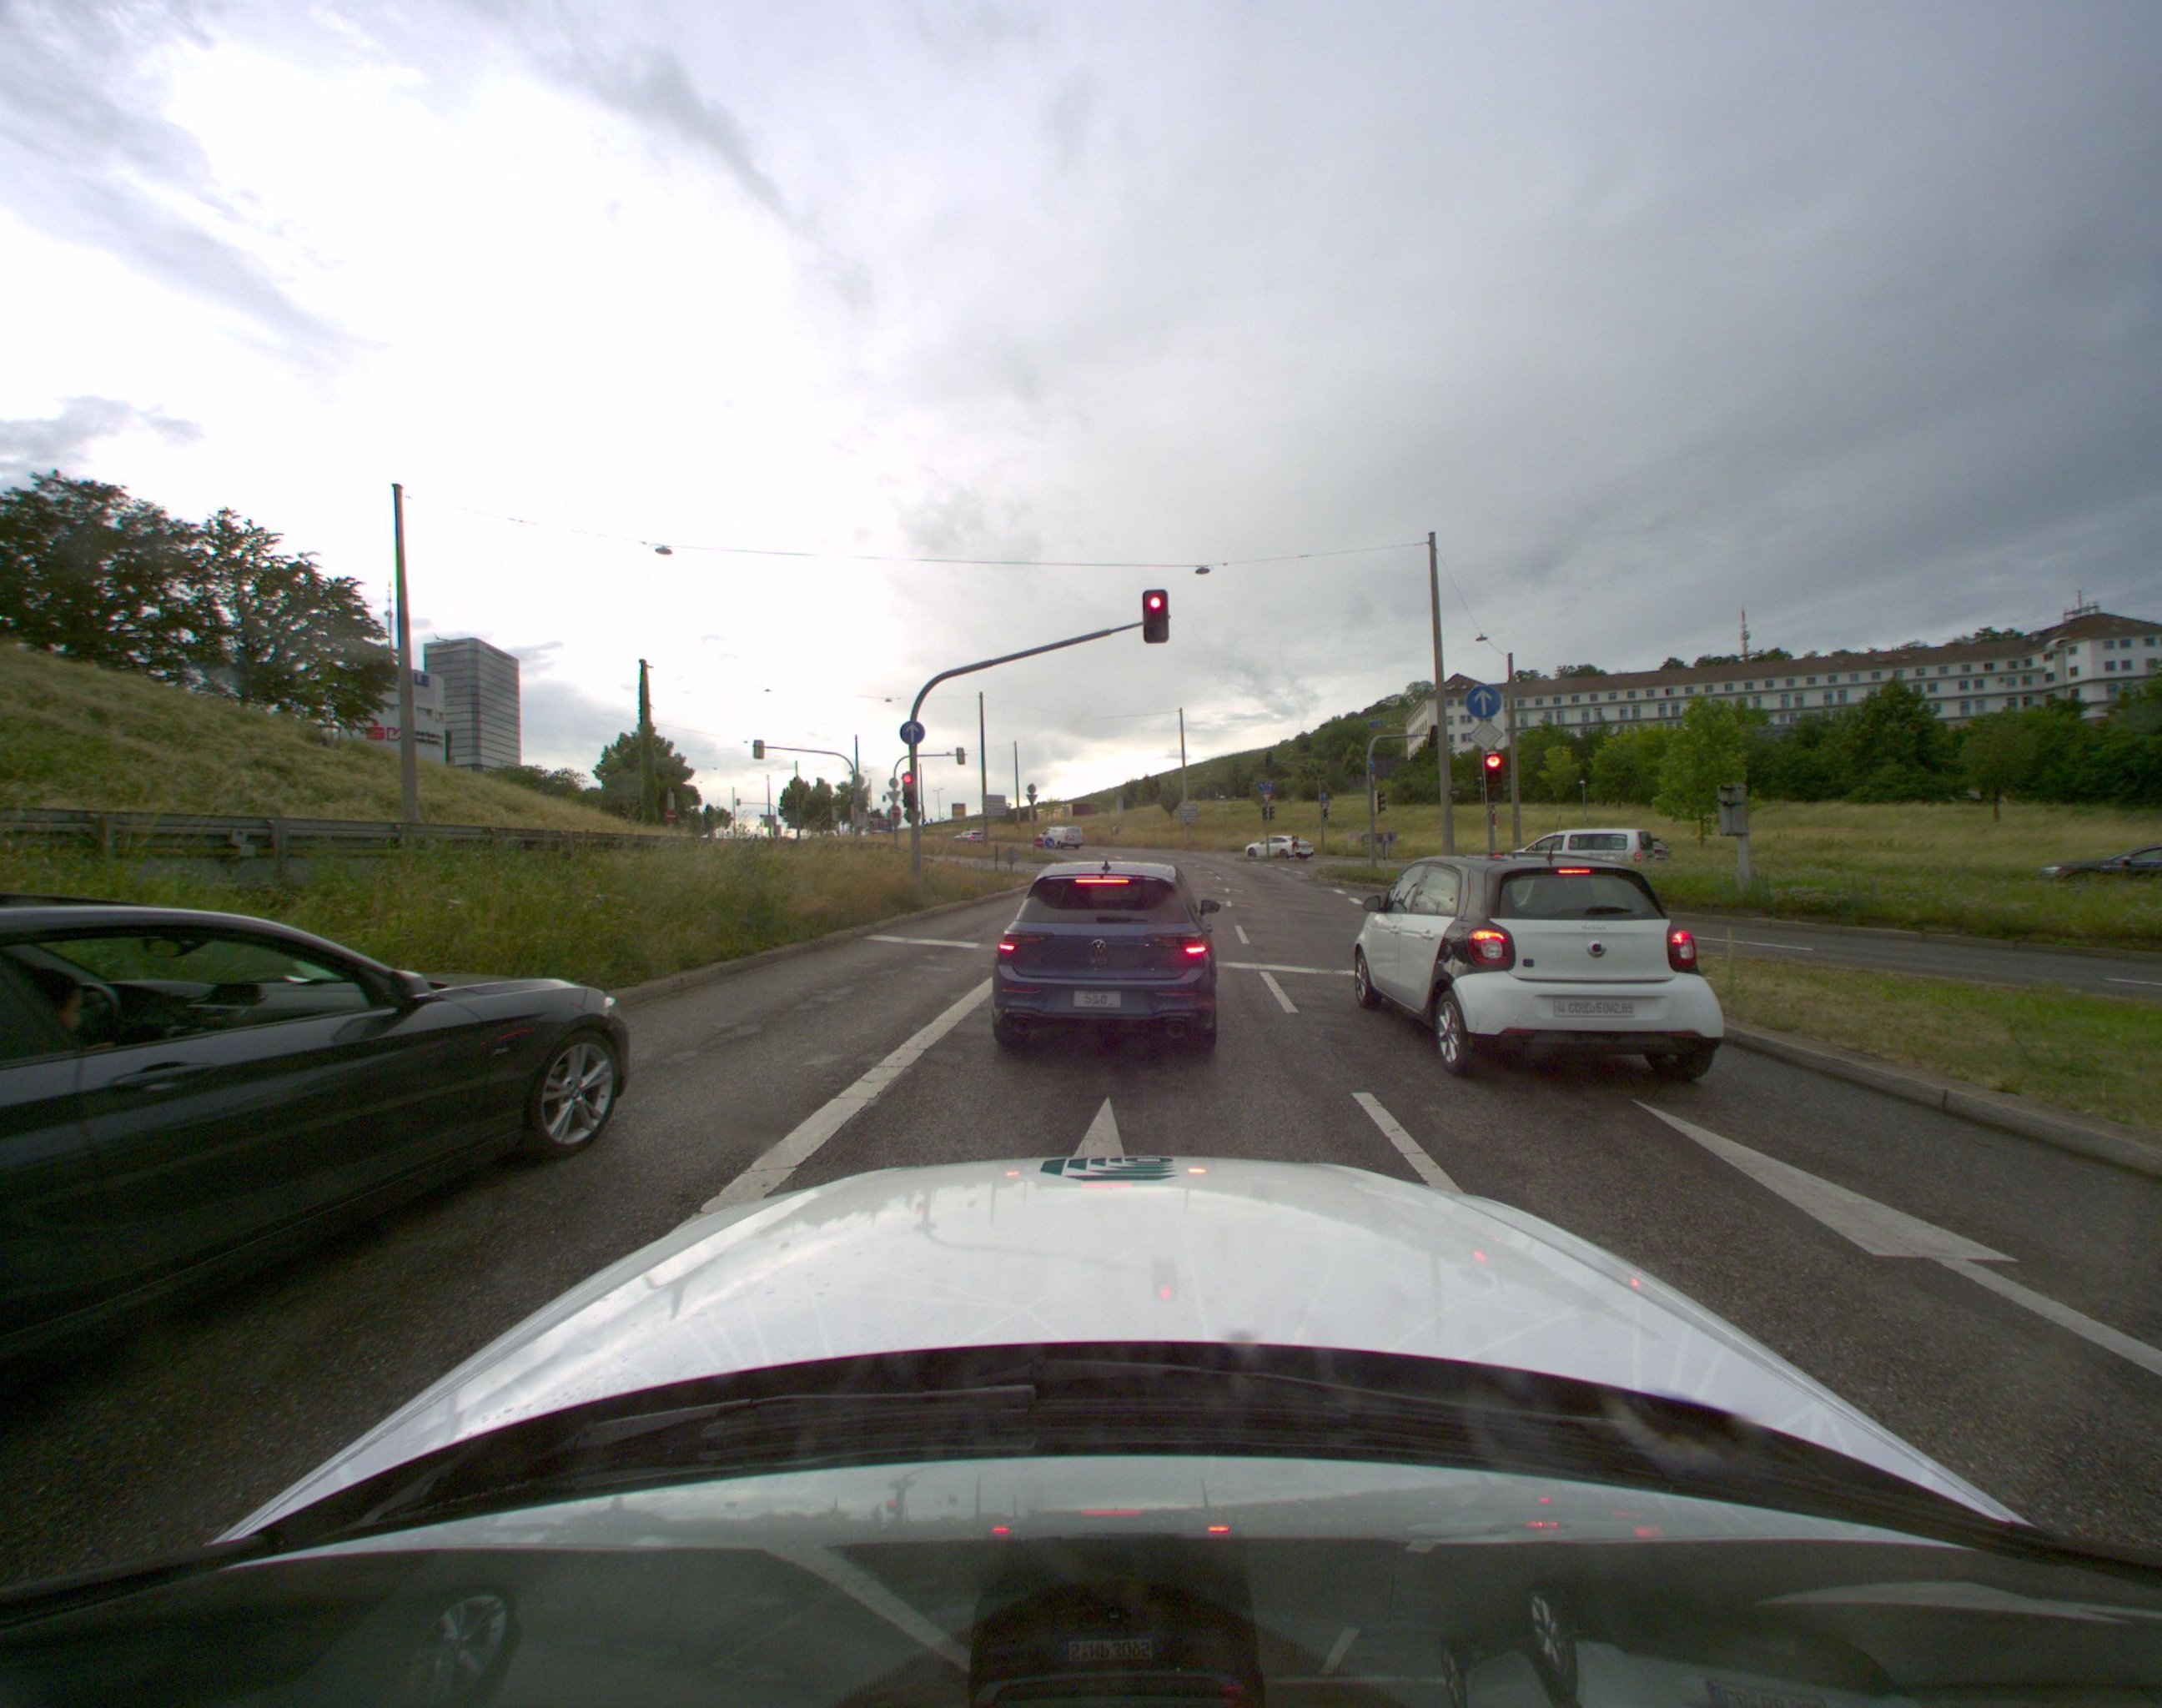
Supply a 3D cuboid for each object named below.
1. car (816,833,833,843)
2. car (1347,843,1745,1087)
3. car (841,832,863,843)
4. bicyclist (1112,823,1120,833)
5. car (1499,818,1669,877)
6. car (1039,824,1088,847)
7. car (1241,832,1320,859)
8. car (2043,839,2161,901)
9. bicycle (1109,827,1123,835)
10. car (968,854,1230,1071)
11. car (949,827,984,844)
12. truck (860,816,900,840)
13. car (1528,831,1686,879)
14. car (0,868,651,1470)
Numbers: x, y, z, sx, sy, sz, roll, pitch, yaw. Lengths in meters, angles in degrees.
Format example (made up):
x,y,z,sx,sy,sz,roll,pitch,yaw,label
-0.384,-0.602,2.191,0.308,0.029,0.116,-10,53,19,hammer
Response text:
x,y,z,sx,sy,sz,roll,pitch,yaw,label
-45.445,-2.823,144.143,2.005,1.659,4.502,0,-1,-29,car
3.460,0.712,6.835,1.649,1.503,3.457,-1,-1,6,car
-35.628,-2.607,126.802,2.007,1.659,4.498,2,1,-33,car
3.678,-2.742,85.104,0.527,1.046,0.574,2,0,-40,bicyclist
17.195,-0.166,28.061,1.831,1.850,4.644,0,-1,-39,car
-1.539,-1.593,69.990,2.143,1.794,4.694,0,-1,-31,car
11.932,-0.472,48.904,2.008,1.477,4.373,0,-1,-34,car
29.221,0.415,21.748,2.008,1.637,4.373,0,-1,-34,car
3.671,-2.393,85.091,0.522,0.775,1.602,2,0,-40,bicycle
0.314,0.758,7.583,1.816,1.460,3.815,-1,0,6,car
-12.289,-1.970,87.484,2.007,1.659,4.497,0,-1,-33,car
-27.828,-3.565,112.604,3.281,3.074,6.111,2,0,-34,truck
19.185,0.067,29.862,2.010,1.620,4.472,0,-1,-39,car
-3.462,0.800,2.674,1.695,1.460,4.118,-1,-1,4,car
